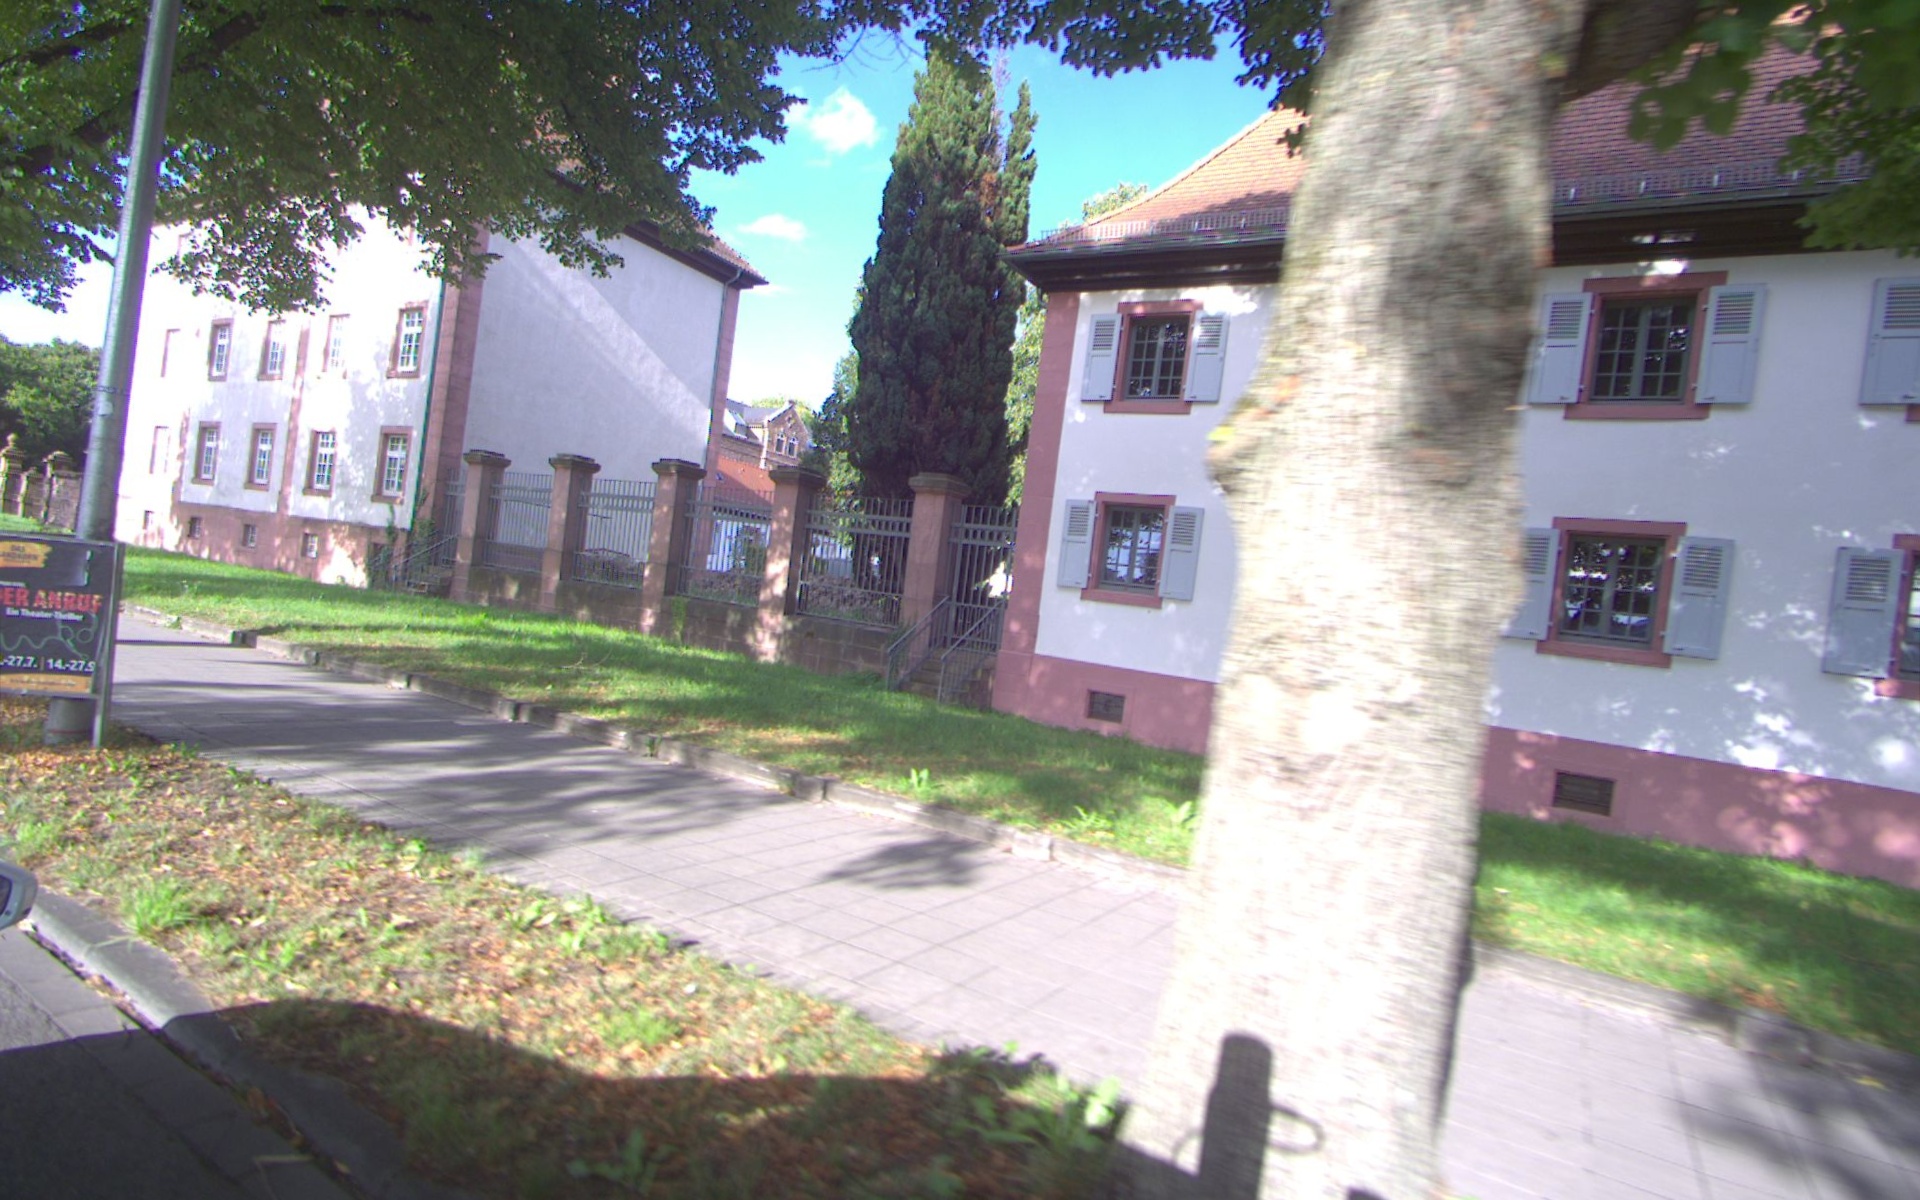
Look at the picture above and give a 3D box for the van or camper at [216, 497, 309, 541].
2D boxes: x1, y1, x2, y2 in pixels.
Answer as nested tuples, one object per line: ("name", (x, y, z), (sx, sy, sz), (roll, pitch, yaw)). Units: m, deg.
("van or camper", (-54.730, -6.303, 78.998), (2.552, 2.588, 5.247), (7, 0, 30))
